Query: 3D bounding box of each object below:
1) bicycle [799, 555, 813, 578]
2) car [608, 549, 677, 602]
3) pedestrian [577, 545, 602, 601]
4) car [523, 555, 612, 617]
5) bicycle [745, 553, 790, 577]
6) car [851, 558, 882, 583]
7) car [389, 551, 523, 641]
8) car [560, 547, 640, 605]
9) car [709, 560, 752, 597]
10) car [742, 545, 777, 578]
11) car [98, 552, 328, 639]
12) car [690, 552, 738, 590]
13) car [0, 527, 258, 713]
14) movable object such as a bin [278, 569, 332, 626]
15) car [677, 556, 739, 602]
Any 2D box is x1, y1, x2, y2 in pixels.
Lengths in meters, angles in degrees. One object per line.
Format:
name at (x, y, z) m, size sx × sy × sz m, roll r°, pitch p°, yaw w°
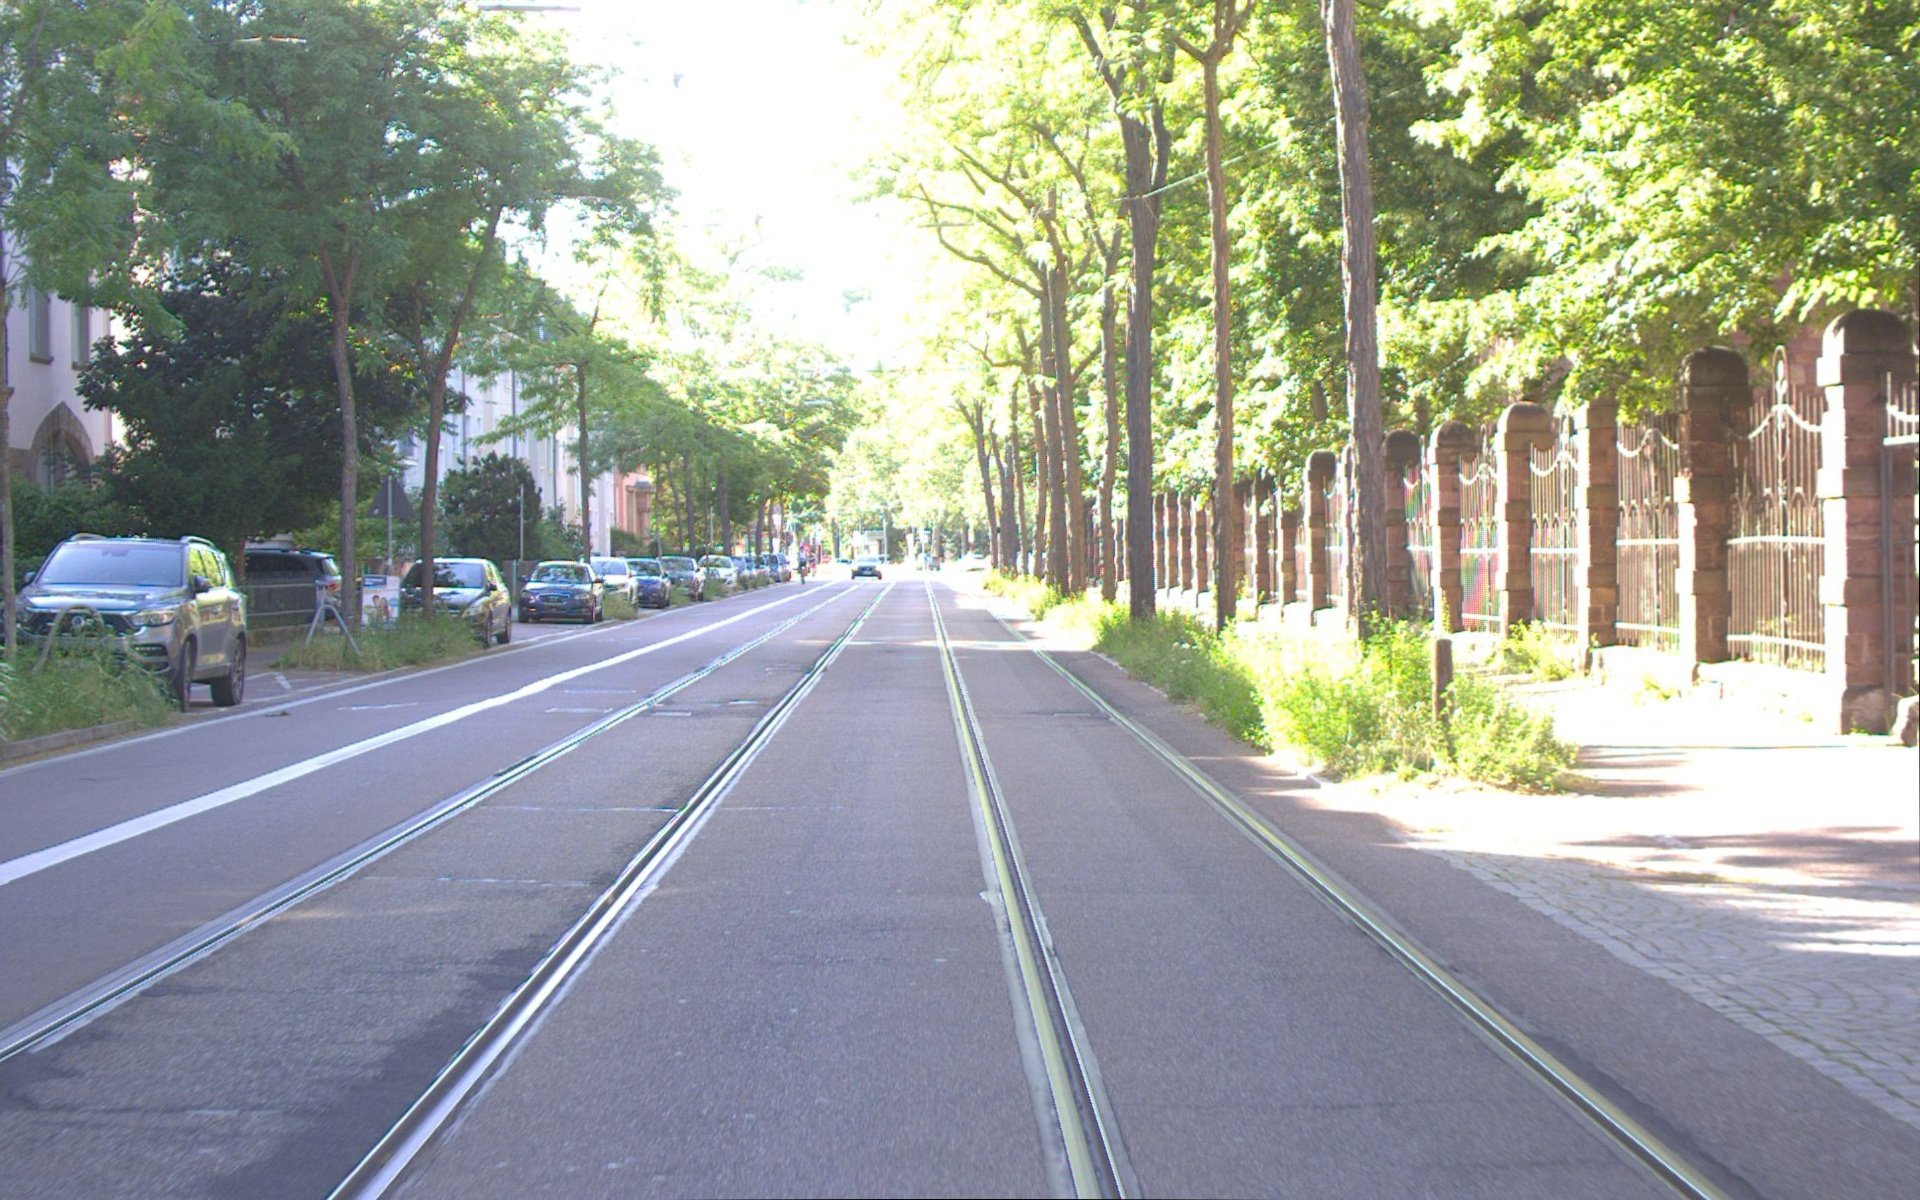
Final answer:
bicycle at (-8.389, -1.825, 187.089) m, size 0.626 × 1.173 × 1.913 m, roll -3°, pitch 1°, yaw -1°
car at (-9.457, -0.753, 102.694) m, size 1.757 × 1.506 × 4.439 m, roll 1°, pitch 1°, yaw -2°
pedestrian at (-11.876, -0.861, 110.278) m, size 0.691 × 1.795 × 0.813 m, roll -1°, pitch 1°, yaw -1°
car at (-9.208, -0.346, 80.917) m, size 1.705 × 1.401 × 4.334 m, roll 1°, pitch 1°, yaw -2°
bicycle at (-10.031, -1.822, 179.102) m, size 2.285 × 1.194 × 0.559 m, roll 2°, pitch 1°, yaw 6°
car at (-5.393, -1.708, 197.206) m, size 1.757 × 1.434 × 4.524 m, roll 0°, pitch 1°, yaw -2°
car at (-9.029, -0.107, 61.912) m, size 1.776 × 1.536 × 4.486 m, roll 1°, pitch 1°, yaw -1°
car at (-9.655, -0.668, 92.541) m, size 1.817 × 1.506 × 4.371 m, roll 1°, pitch 1°, yaw -2°
car at (-9.995, -0.947, 149.764) m, size 1.687 × 1.480 × 3.760 m, roll 2°, pitch 1°, yaw -2°
car at (-9.304, -1.778, 159.833) m, size 1.560 × 1.452 × 3.931 m, roll 2°, pitch 1°, yaw -3°
car at (-14.780, -0.107, 68.176) m, size 4.165 × 1.653 × 1.984 m, roll 1°, pitch 1°, yaw -2°
car at (-10.137, -1.199, 141.968) m, size 1.702 × 1.480 × 4.079 m, roll 2°, pitch 1°, yaw -1°
car at (-8.717, 0.161, 36.195) m, size 1.870 × 1.816 × 4.772 m, roll 0°, pitch 1°, yaw -3°
movable object such as a bin at (-12.473, -0.045, 65.497) m, size 0.875 × 1.062 × 0.814 m, roll 0°, pitch 1°, yaw 0°
car at (-8.480, -0.713, 115.869) m, size 1.817 × 1.480 × 4.206 m, roll 1°, pitch 1°, yaw -1°
